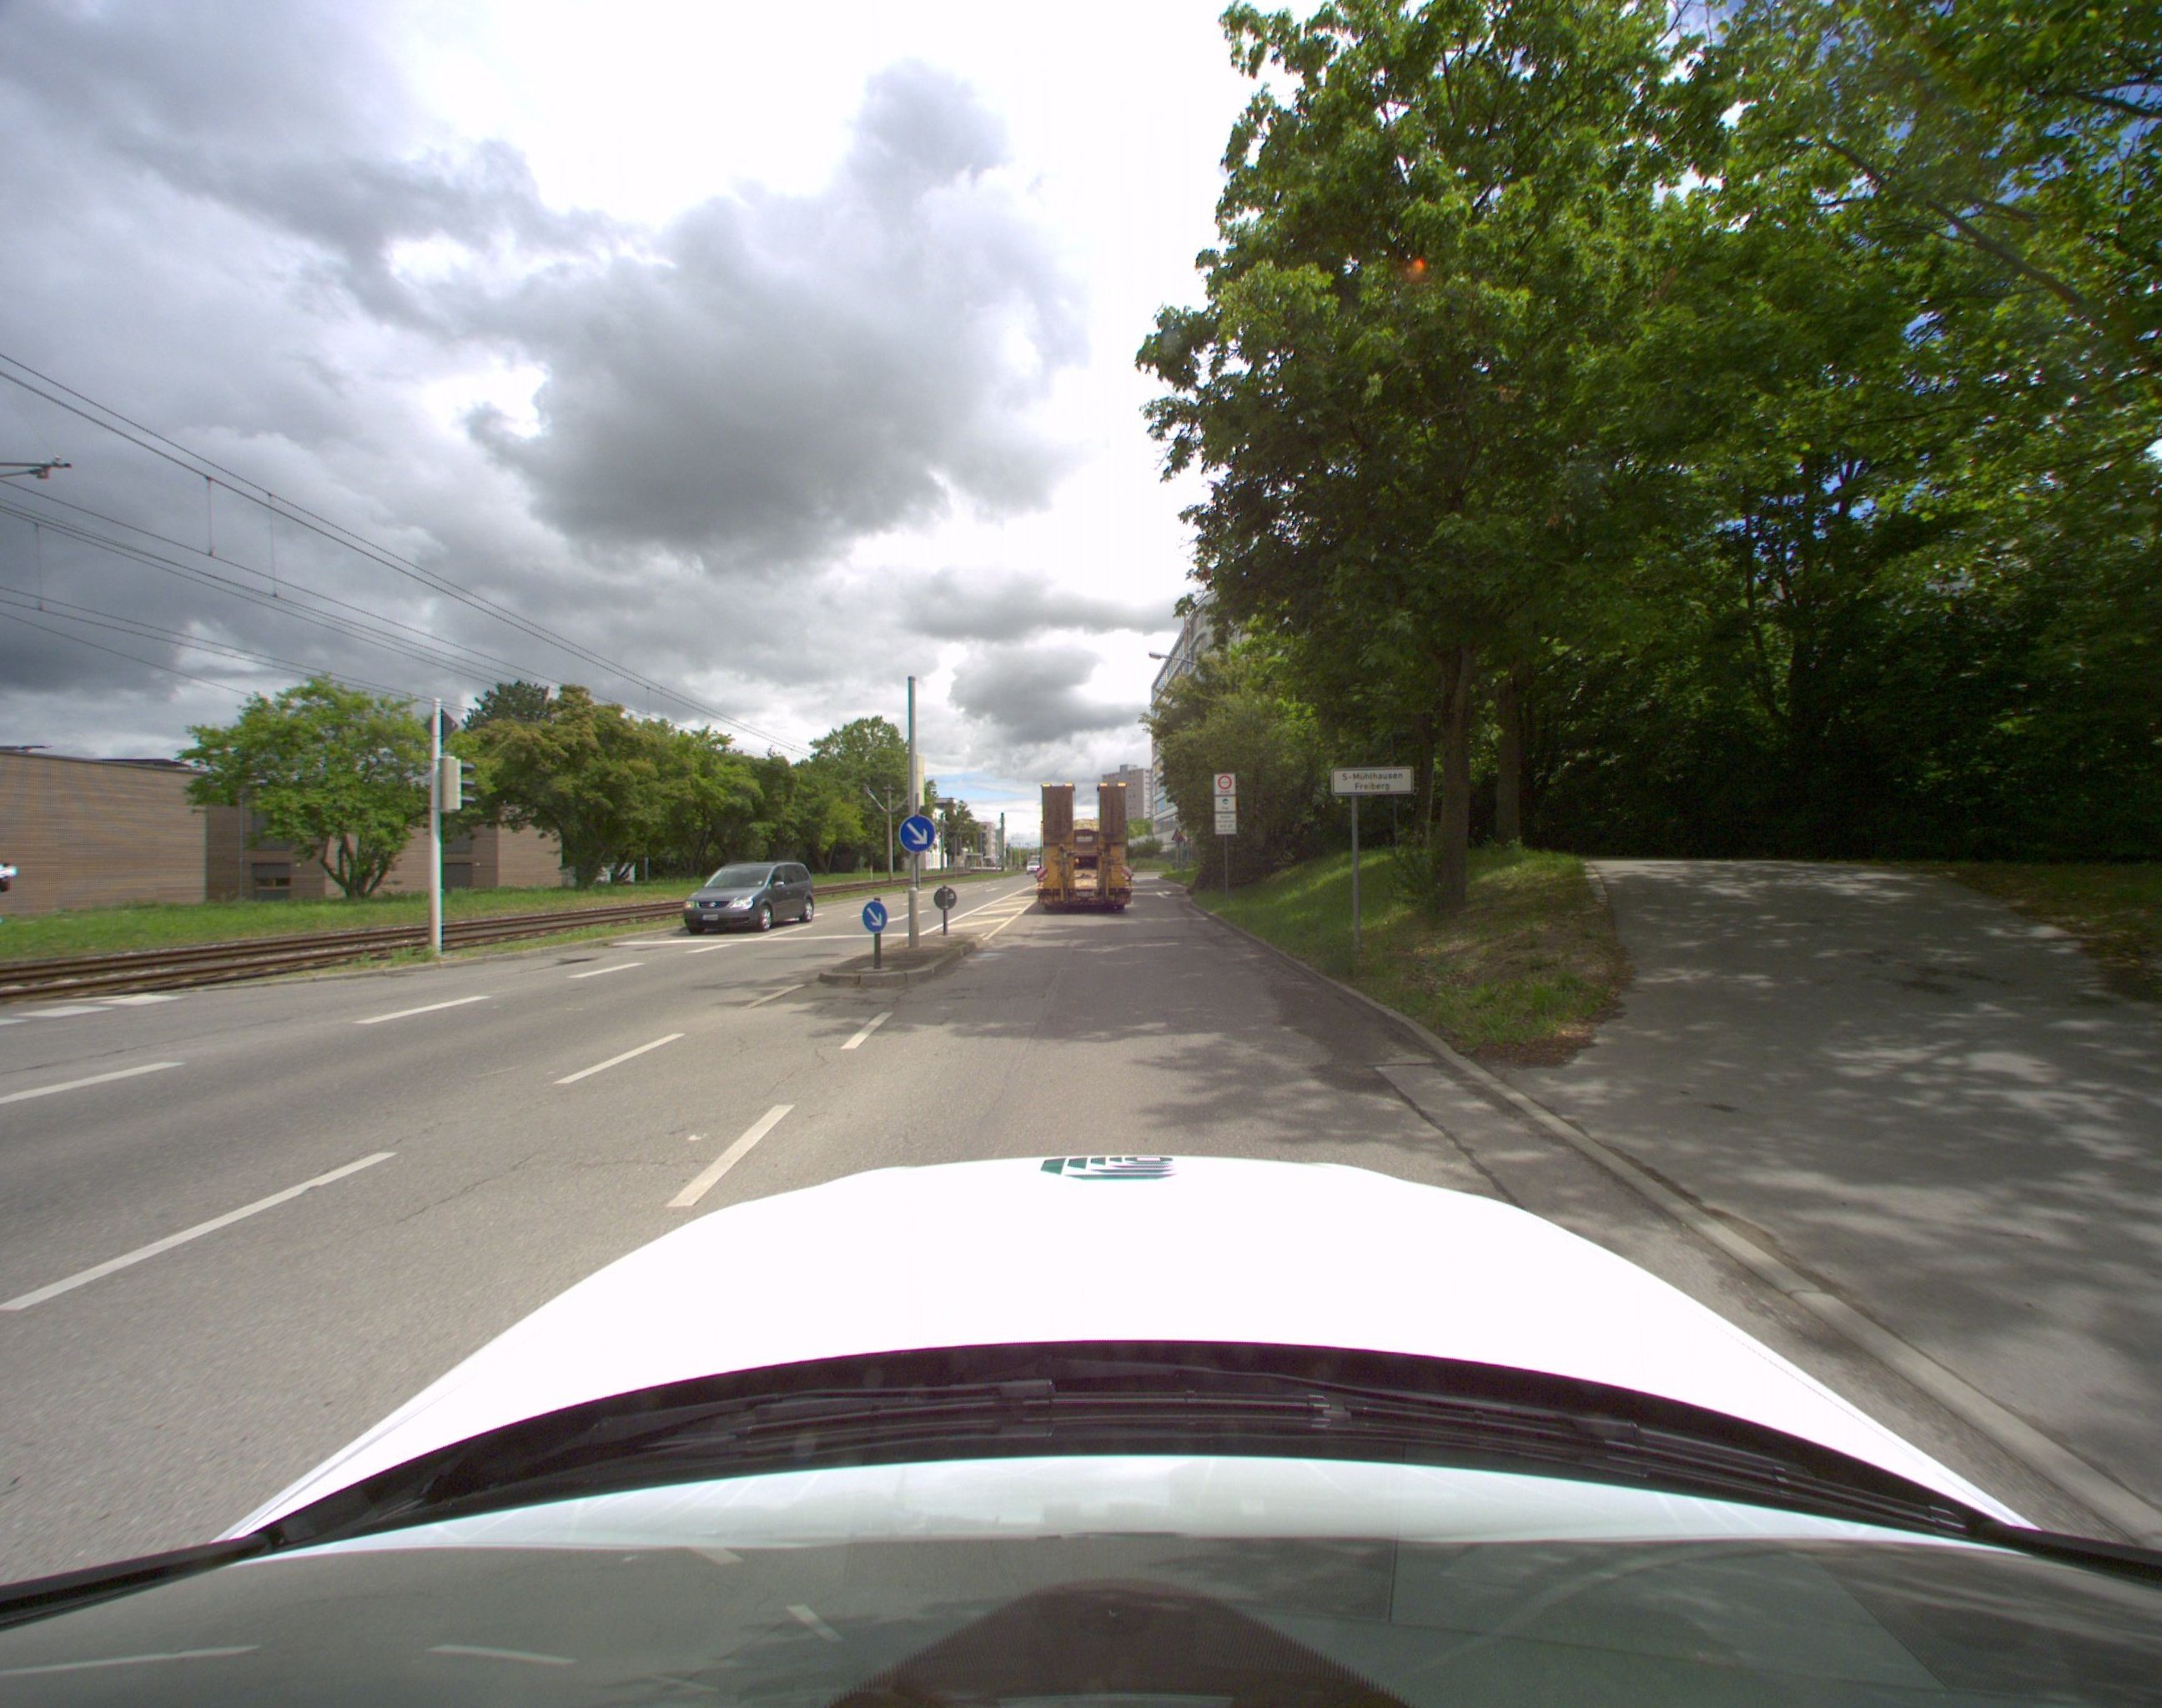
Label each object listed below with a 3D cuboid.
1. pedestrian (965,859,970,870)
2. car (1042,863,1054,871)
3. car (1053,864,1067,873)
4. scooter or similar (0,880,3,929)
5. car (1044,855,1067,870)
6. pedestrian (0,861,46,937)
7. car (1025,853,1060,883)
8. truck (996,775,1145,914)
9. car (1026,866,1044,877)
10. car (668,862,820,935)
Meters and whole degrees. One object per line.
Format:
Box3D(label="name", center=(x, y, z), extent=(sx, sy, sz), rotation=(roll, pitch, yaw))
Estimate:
Box3D(label="pedestrian", center=(-22.183, 2.027, 159.018), extent=(0.649, 2.014, 0.654), rotation=(1, -1, 7))
Box3D(label="car", center=(-5.590, 2.223, 137.749), extent=(1.778, 1.271, 4.344), rotation=(-1, -1, 0))
Box3D(label="car", center=(-3.050, 2.038, 117.568), extent=(1.777, 1.271, 4.346), rotation=(-1, -1, 1))
Box3D(label="scooter or similar", center=(-26.504, 1.203, 19.182), extent=(0.886, 1.184, 0.973), rotation=(1, 0, 4))
Box3D(label="car", center=(-2.436, 0.815, 78.622), extent=(1.986, 1.420, 4.002), rotation=(1, 0, 2))
Box3D(label="pedestrian", center=(-26.366, 1.079, 20.015), extent=(0.797, 1.811, 0.810), rotation=(1, -1, 6))
Box3D(label="car", center=(-2.614, 0.948, 55.494), extent=(1.986, 1.926, 4.002), rotation=(1, 0, 2))
Box3D(label="truck", center=(0.201, -0.222, 27.950), extent=(3.298, 3.651, 12.588), rotation=(1, 0, 8))
Box3D(label="car", center=(-5.558, 2.123, 99.118), extent=(1.777, 1.271, 4.346), rotation=(-1, -1, 1))
Box3D(label="car", center=(-8.025, 0.988, 19.865), extent=(1.777, 1.570, 4.346), rotation=(-1, -1, 1))
